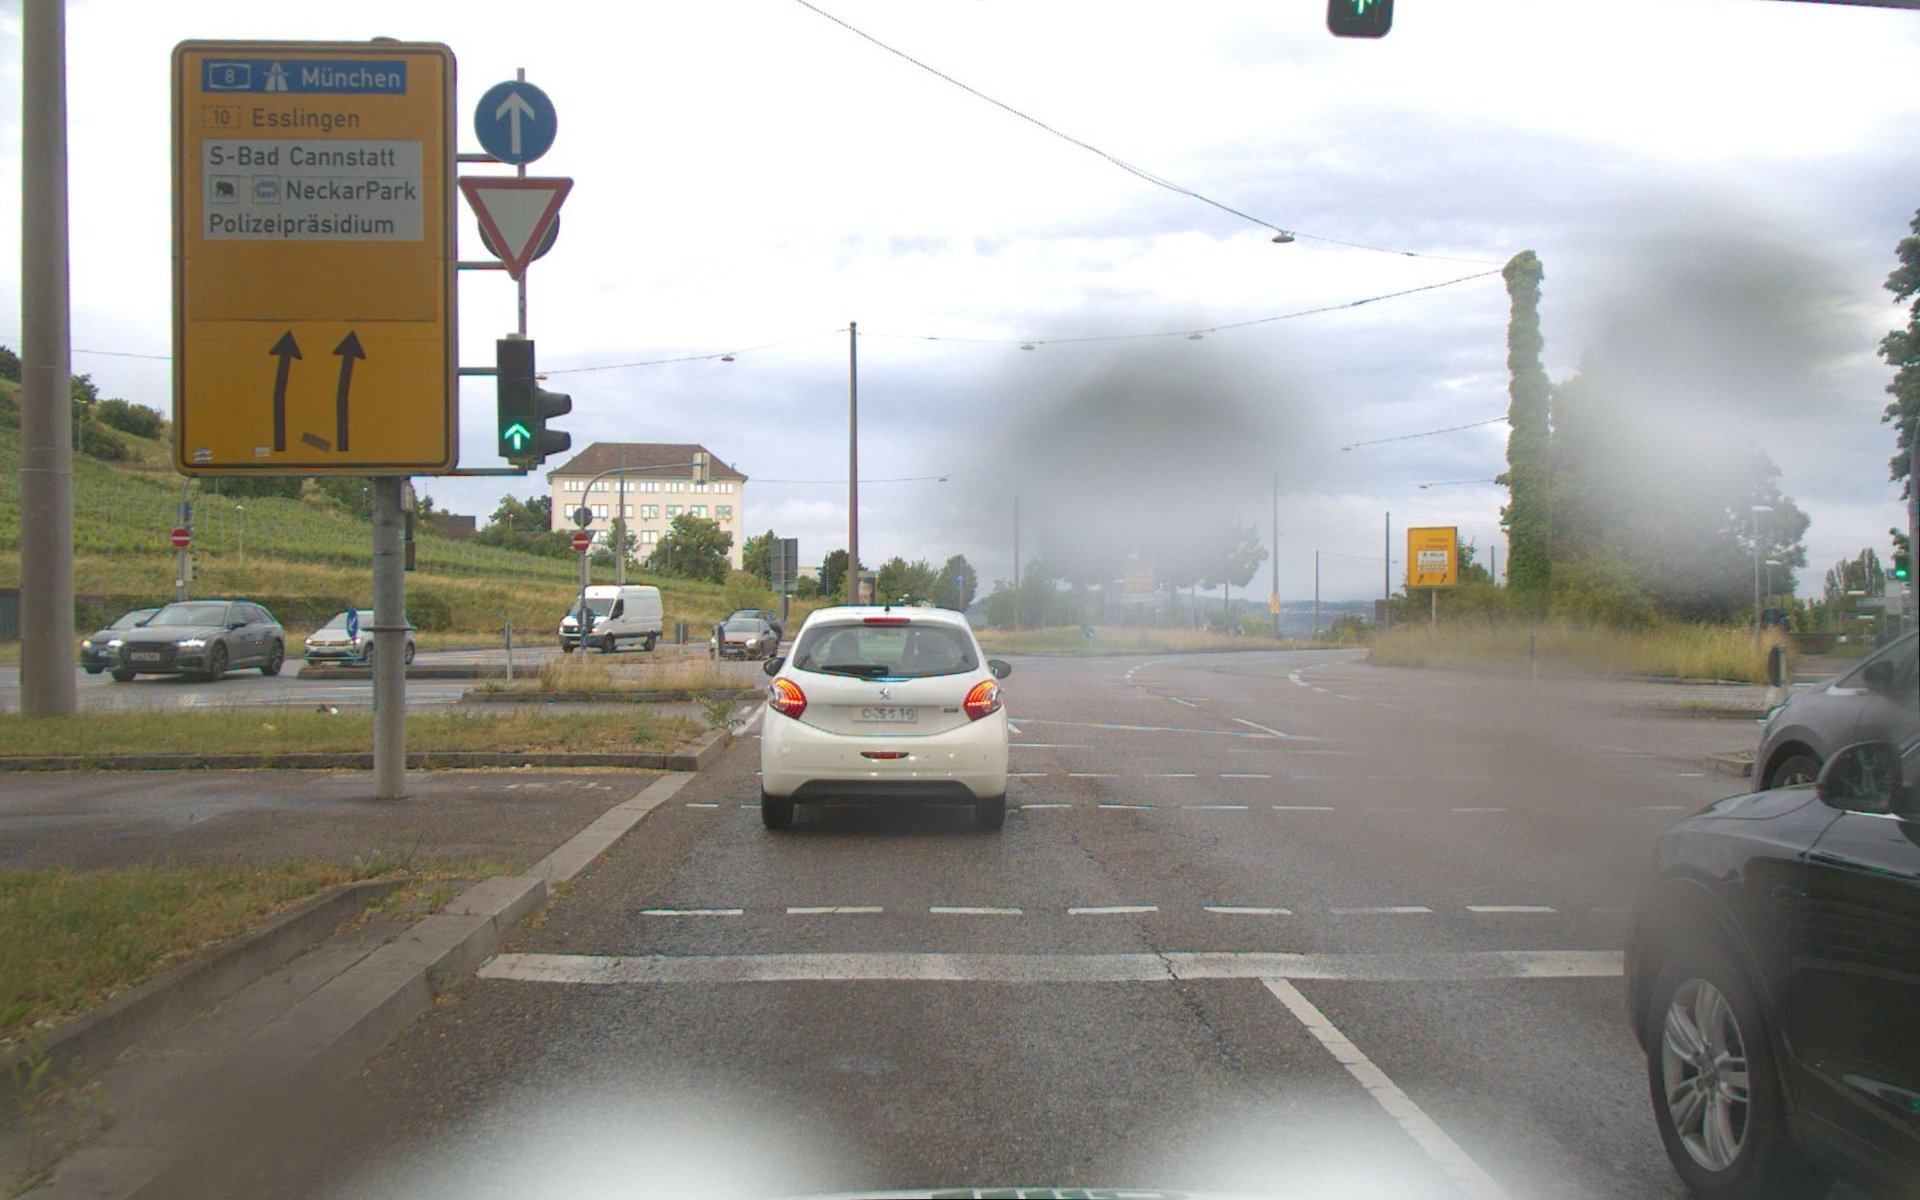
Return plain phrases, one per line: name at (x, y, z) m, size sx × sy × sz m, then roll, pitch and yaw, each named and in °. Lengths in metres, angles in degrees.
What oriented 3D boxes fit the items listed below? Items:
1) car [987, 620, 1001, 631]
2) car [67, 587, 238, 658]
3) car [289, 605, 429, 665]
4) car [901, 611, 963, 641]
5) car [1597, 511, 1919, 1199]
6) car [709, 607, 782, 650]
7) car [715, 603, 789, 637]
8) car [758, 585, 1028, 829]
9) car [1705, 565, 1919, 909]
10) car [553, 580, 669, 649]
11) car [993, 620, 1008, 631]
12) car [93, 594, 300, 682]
car at (4.950, 3.701, 241.315) m, size 1.805 × 1.512 × 3.997 m, roll 0°, pitch 0°, yaw -3°
car at (-18.135, 0.450, 37.408) m, size 1.788 × 1.498 × 4.665 m, roll 0°, pitch 0°, yaw -3°
car at (-17.338, 1.005, 47.929) m, size 1.951 × 1.603 × 4.198 m, roll 2°, pitch -1°, yaw 10°
car at (-1.496, 1.429, 90.124) m, size 1.717 × 1.539 × 3.995 m, roll 2°, pitch -1°, yaw 27°
car at (2.877, 0.656, 2.849) m, size 1.846 × 1.623 × 4.112 m, roll 2°, pitch -1°, yaw -2°
car at (-7.470, 0.986, 57.906) m, size 1.738 × 1.450 × 4.375 m, roll 0°, pitch -1°, yaw 4°
car at (-9.882, 0.971, 78.911) m, size 1.951 × 1.539 × 4.234 m, roll 2°, pitch -1°, yaw 17°
car at (-0.486, 0.697, 12.448) m, size 1.683 × 1.515 × 3.998 m, roll 1°, pitch -1°, yaw -2°
car at (5.711, 0.697, 7.973) m, size 1.829 × 1.703 × 4.560 m, roll 1°, pitch 0°, yaw -6°
car at (-13.992, 0.624, 66.762) m, size 1.951 × 2.604 × 6.174 m, roll 2°, pitch -1°, yaw 14°
car at (5.754, 3.628, 232.953) m, size 1.805 × 1.512 × 3.997 m, roll 0°, pitch 0°, yaw -3°
car at (-14.468, 0.661, 31.662) m, size 1.863 × 1.515 × 4.890 m, roll 0°, pitch 0°, yaw -2°
